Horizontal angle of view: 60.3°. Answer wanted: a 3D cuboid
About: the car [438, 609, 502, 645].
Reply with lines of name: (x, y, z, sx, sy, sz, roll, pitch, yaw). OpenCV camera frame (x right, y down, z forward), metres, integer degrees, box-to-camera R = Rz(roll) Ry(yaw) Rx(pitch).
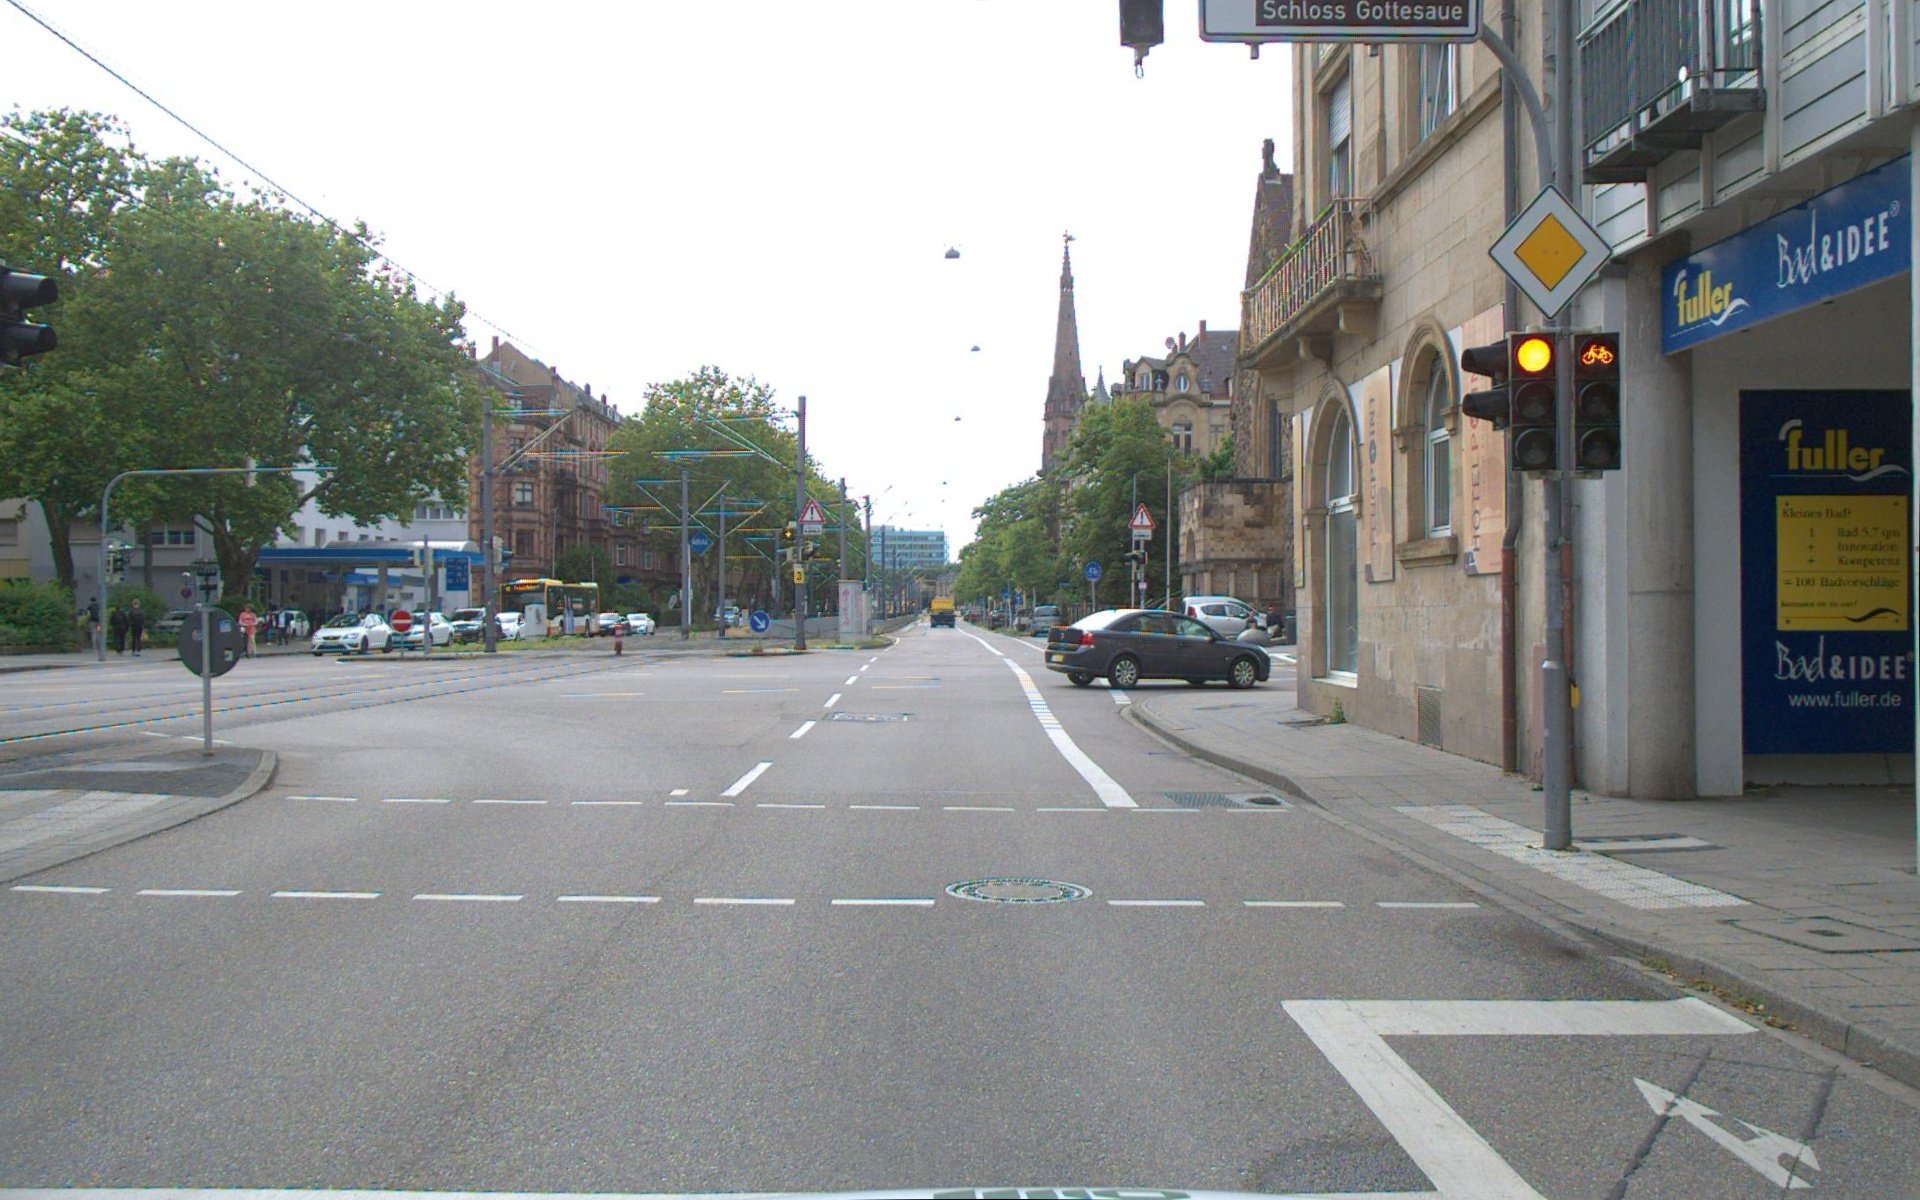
car: (-21.221, 1.150, 71.778, 1.622, 1.504, 3.638, 1, 0, 1)

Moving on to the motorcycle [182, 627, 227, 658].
motorcycle: (-24.678, 1.381, 54.074, 0.594, 0.945, 1.951, 0, 0, 0)

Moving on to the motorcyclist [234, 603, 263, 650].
motorcyclist: (-23.658, 0.868, 55.004, 0.607, 1.546, 0.873, 0, 0, -1)

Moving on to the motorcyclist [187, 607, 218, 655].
motorcyclist: (-24.676, 1.005, 53.904, 0.607, 1.546, 0.873, 0, 0, -1)

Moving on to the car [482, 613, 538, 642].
car: (-21.377, 1.296, 78.696, 1.622, 1.344, 3.638, 1, 0, 1)

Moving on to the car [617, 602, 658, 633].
car: (-21.418, 1.149, 110.002, 1.953, 2.049, 3.999, 1, 0, -1)

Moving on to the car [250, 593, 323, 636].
car: (-32.864, 0.705, 80.781, 1.953, 2.049, 3.999, 0, 0, -1)

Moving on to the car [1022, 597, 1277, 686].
car: (3.594, 0.758, 31.384, 4.464, 1.591, 1.984, 0, 0, -25)

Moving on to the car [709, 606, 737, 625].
car: (-21.331, 1.396, 148.790, 1.953, 1.639, 3.999, 1, 0, -1)

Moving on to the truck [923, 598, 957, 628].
truck: (-1.863, 1.214, 157.990, 2.992, 2.817, 9.815, 0, 0, 1)

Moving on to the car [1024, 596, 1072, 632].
car: (4.818, 0.773, 90.043, 1.951, 1.888, 4.030, 1, 0, 12)

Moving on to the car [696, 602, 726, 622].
car: (-21.218, 1.039, 141.178, 1.953, 1.639, 3.999, 1, 0, -1)

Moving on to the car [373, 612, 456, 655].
car: (-21.422, 1.298, 65.125, 1.953, 1.622, 3.999, 1, 0, -1)

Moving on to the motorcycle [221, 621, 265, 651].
motorcycle: (-23.689, 1.179, 54.669, 0.594, 0.945, 1.951, 0, 0, 0)

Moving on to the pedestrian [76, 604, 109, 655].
pedestrian: (-29.596, 1.004, 56.433, 0.669, 1.720, 0.742, 1, -1, 4)

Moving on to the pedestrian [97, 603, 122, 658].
pedestrian: (-27.409, 0.975, 53.311, 0.680, 1.743, 0.863, 0, 0, -24)

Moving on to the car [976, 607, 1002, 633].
car: (2.382, 1.633, 135.997, 1.953, 2.049, 3.999, 1, 0, -1)

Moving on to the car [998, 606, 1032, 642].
car: (3.291, 1.423, 99.642, 1.952, 2.049, 4.000, 1, 0, 1)

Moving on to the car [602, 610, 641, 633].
car: (-20.830, 1.318, 101.886, 1.622, 1.344, 3.638, 1, 0, 1)

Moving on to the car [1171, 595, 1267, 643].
car: (10.693, 0.793, 68.552, 3.638, 1.888, 2.000, 1, 0, -1)

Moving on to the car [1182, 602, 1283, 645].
car: (10.676, 0.924, 65.042, 3.638, 1.591, 2.000, 1, 0, -1)

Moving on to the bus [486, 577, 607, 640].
bus: (-21.964, 0.430, 88.751, 3.164, 3.088, 12.312, 1, 0, 1)

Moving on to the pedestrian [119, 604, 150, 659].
pedestrian: (-26.797, 1.018, 53.699, 0.862, 1.743, 0.867, 0, 0, -25)

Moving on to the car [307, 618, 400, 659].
car: (-21.434, 1.342, 58.620, 1.711, 1.344, 4.075, 1, 0, 1)

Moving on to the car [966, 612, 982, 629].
car: (1.775, 2.671, 216.819, 1.953, 2.049, 3.999, 1, 0, -1)
